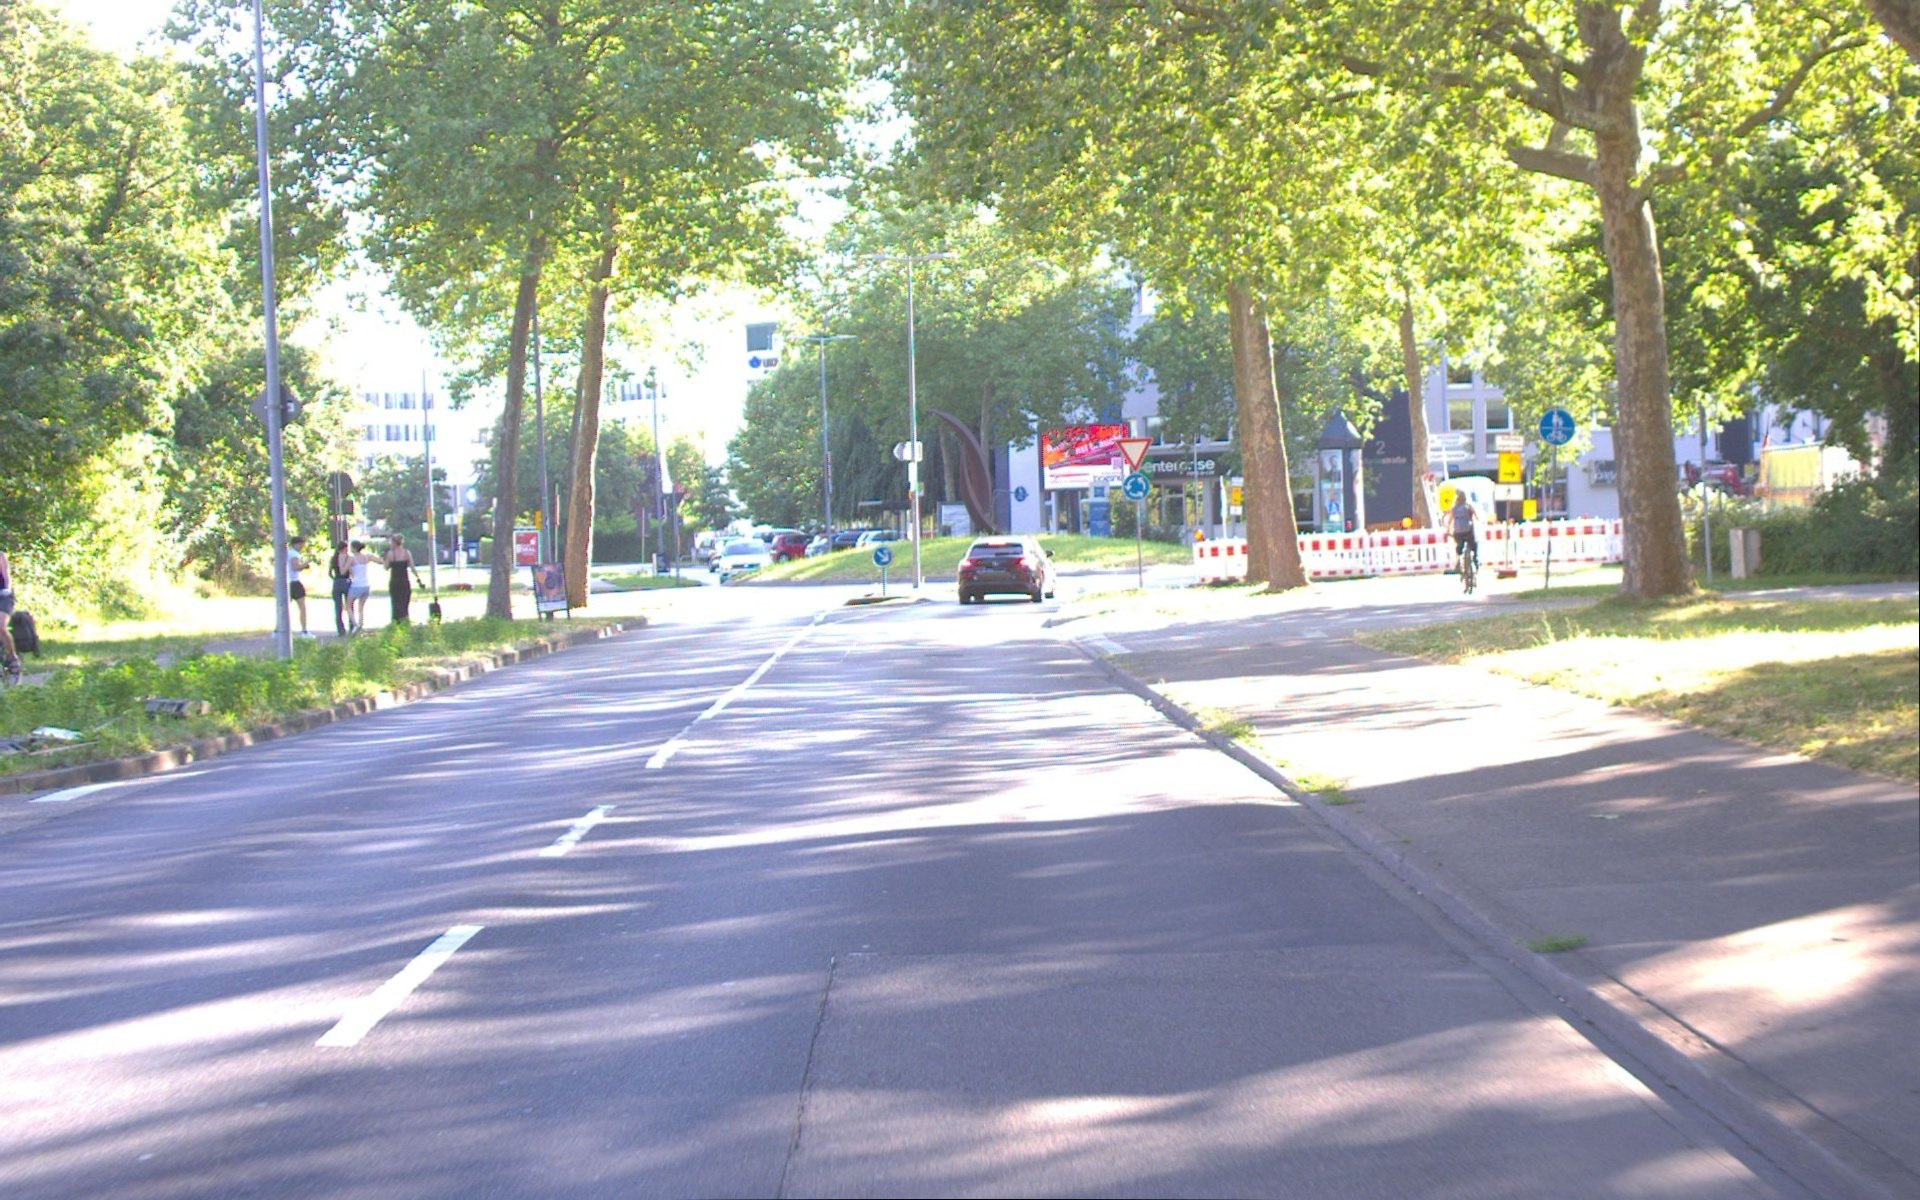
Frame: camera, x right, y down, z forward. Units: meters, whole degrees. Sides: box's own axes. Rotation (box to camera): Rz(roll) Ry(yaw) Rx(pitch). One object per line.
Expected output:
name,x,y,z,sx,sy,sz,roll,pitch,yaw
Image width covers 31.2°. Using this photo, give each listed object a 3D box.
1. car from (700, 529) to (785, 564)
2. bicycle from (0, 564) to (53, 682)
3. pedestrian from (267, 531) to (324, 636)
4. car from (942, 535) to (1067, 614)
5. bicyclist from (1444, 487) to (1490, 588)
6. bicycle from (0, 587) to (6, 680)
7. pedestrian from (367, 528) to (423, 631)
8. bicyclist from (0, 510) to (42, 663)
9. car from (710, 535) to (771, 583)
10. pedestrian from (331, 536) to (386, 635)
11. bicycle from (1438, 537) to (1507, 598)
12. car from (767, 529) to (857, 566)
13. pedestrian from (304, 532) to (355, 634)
car,-11.252,-2.781,177.654,3.987,1.741,1.795,-1,1,-30
bicycle,-10.660,0.247,38.260,0.579,1.241,2.108,-2,1,-1
pedestrian,-11.160,-0.274,57.714,0.633,1.733,0.664,-1,1,21
car,0.995,-0.571,74.472,1.840,1.600,3.860,-1,1,14
bicyclist,8.603,-1.064,58.351,0.651,1.699,0.871,0,1,0
bicycle,-11.734,0.389,40.164,0.579,1.182,2.032,-3,1,-1
pedestrian,-9.704,-0.358,59.064,0.748,1.733,0.852,-2,1,2
bicyclist,-10.673,-0.149,38.279,0.579,1.674,0.971,-2,1,-1
car,-7.585,-1.436,119.001,1.993,1.573,4.001,-2,1,-3
pedestrian,-10.067,-0.251,57.574,0.576,1.632,0.633,-1,1,39
bicycle,8.632,-0.542,57.994,0.770,0.961,2.174,-3,0,-1
car,-7.200,-2.580,167.322,3.987,1.741,1.795,-1,1,-30
pedestrian,-10.822,-0.296,59.060,0.665,1.733,0.751,-2,1,2
